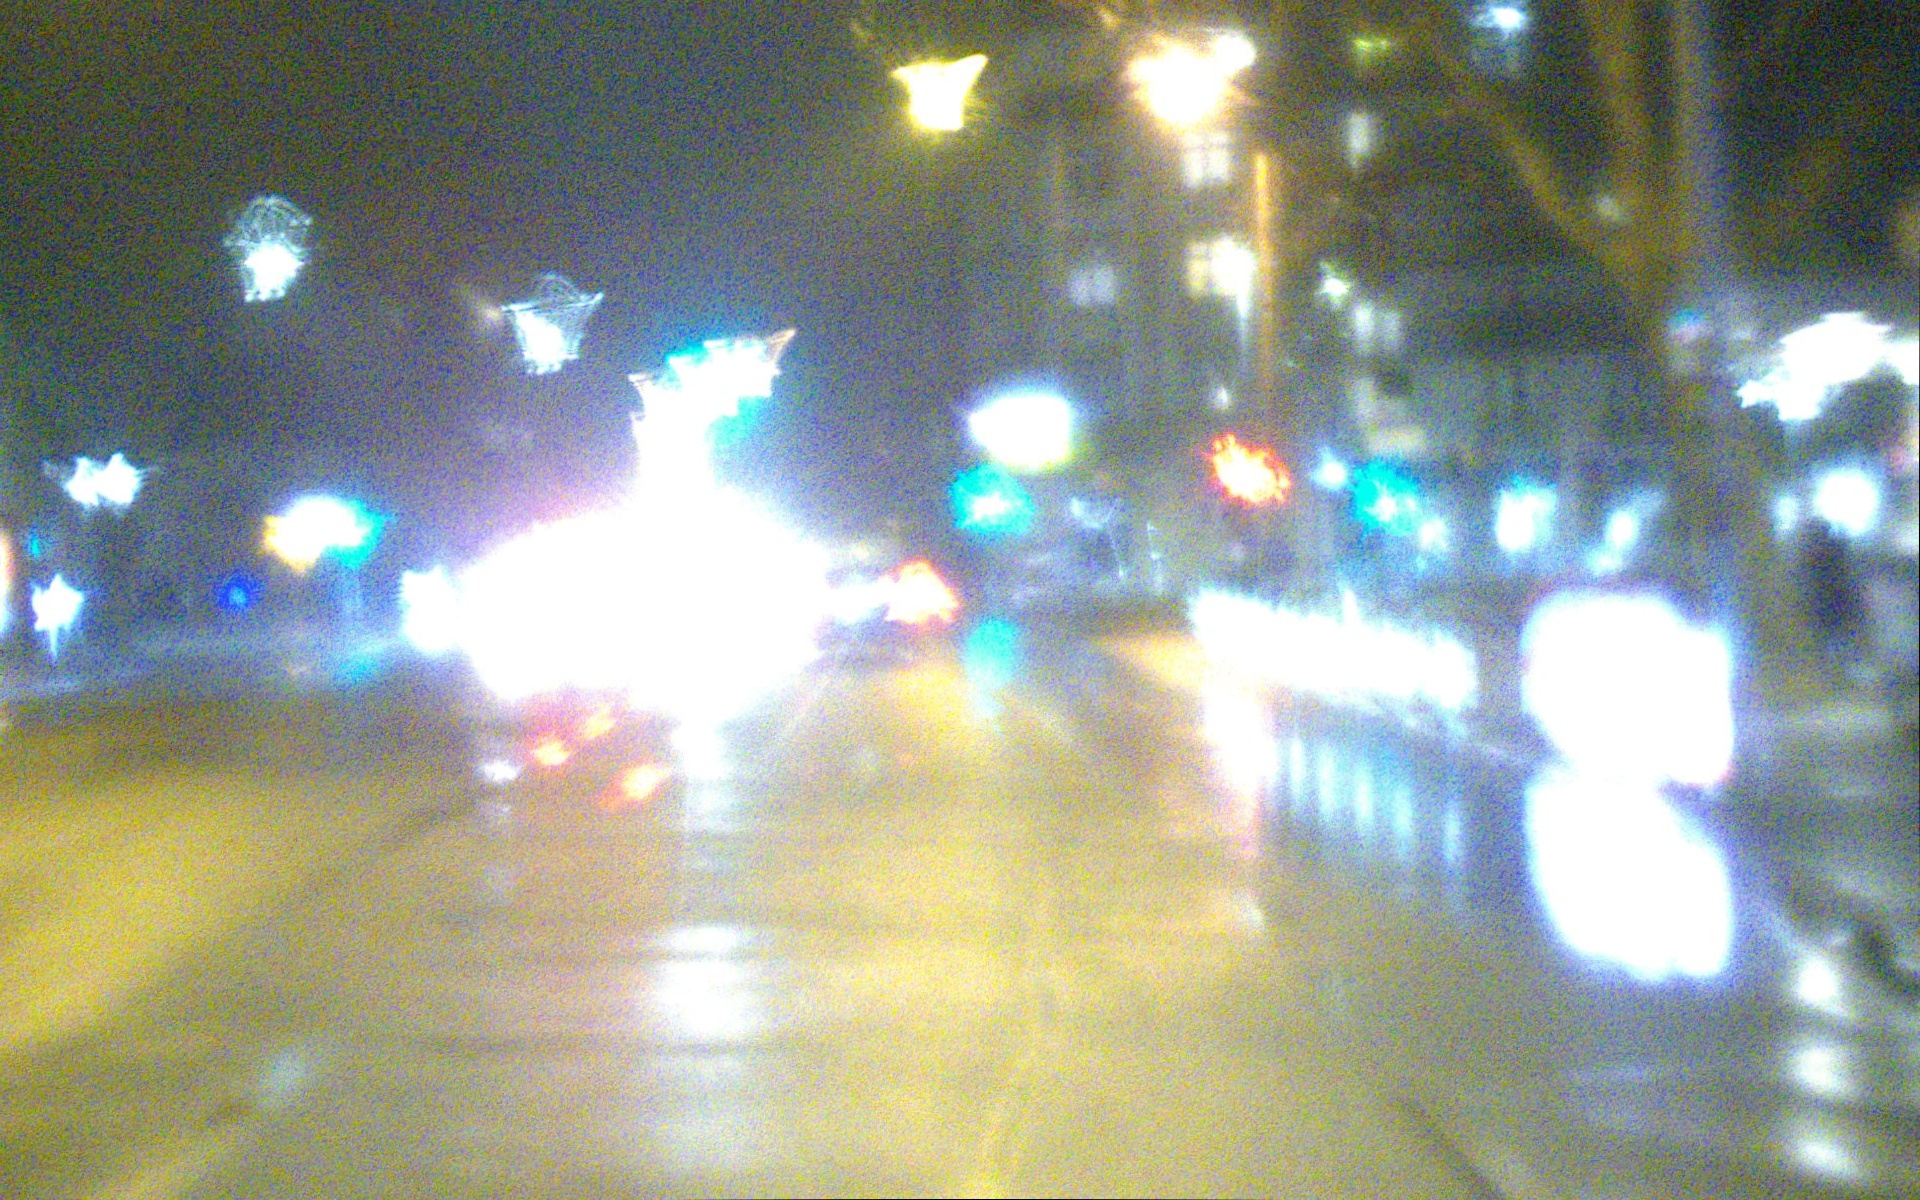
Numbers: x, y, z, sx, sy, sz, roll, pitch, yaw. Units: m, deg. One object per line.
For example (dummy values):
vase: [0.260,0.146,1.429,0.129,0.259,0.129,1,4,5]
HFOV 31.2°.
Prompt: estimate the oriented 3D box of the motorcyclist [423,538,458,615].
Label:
motorcyclist: [-13.750,-0.635,91.067,0.693,2.007,0.982,-2,1,1]

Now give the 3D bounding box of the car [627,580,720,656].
car: [-6.224,0.363,74.377,1.817,1.537,4.727,-2,1,-6]

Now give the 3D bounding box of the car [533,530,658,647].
car: [-6.835,-0.269,64.863,2.034,1.947,5.201,-4,2,-4]

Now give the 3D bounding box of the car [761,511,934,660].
car: [-1.666,-0.223,49.317,2.168,1.965,4.303,-2,1,-5]

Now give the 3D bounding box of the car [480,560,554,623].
car: [-11.687,-0.252,90.840,1.852,1.494,4.771,-2,2,-7]

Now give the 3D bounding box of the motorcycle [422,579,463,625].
motorcycle: [-13.717,0.049,91.134,0.701,1.134,2.175,-2,1,1]
